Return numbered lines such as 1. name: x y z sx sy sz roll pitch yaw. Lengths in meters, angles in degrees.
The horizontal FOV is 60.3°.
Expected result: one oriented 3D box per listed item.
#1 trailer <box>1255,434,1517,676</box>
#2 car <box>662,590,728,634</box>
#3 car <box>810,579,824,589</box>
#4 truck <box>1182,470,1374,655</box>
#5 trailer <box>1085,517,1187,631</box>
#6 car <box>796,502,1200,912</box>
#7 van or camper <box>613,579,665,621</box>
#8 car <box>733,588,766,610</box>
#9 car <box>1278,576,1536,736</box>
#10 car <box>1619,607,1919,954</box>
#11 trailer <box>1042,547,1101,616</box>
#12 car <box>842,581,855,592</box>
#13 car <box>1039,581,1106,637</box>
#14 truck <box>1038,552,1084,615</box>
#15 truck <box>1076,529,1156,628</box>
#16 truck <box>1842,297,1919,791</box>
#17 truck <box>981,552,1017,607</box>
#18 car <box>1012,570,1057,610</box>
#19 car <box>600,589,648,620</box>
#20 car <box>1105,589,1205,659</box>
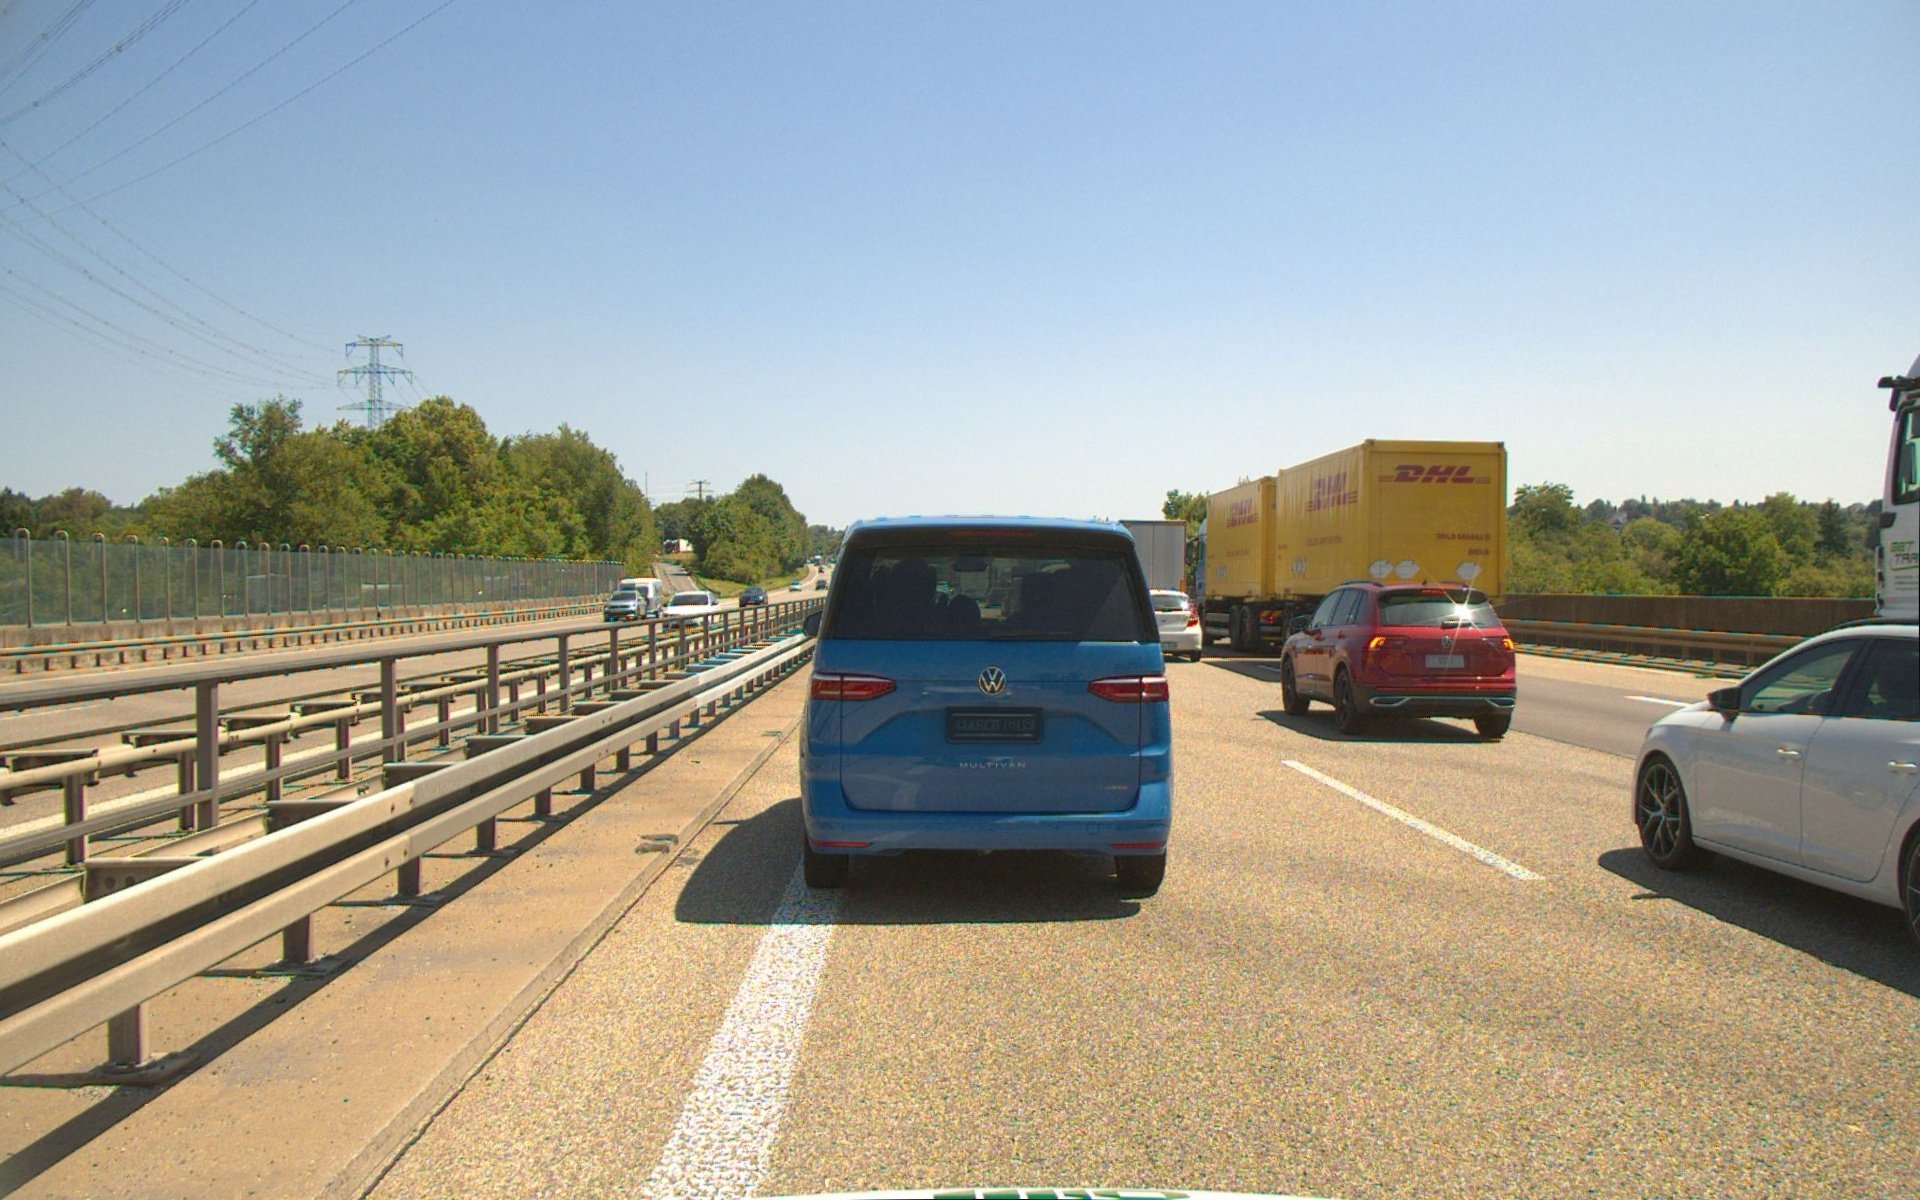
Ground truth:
1. trailer: 8.095 -0.758 32.799 2.647 4.094 8.927 1 0 -2
2. car: -9.489 0.406 59.484 1.722 1.474 4.285 -2 0 -2
3. car: -21.202 -2.399 245.787 1.764 1.410 4.262 1 0 -1
4. truck: 7.856 -0.834 42.437 2.667 4.125 10.333 1 0 -1
5. trailer: 7.032 -0.947 67.607 2.699 4.219 11.309 1 0 -1
6. car: 0.136 0.475 9.564 1.844 1.869 3.999 0 0 -1
7. van or camper: -18.368 0.006 94.830 1.953 2.250 5.535 -3 0 -2
8. car: -15.191 -0.092 119.404 1.818 1.421 4.675 1 2 -1
9. car: 4.974 0.558 18.983 1.813 1.636 3.999 0 1 -1
10. car: 4.848 0.768 7.736 1.745 1.411 4.186 0 0 -2
11. trailer: 6.498 -1.005 97.626 2.331 3.809 11.184 1 0 -2
12. car: -17.416 -2.087 258.888 1.803 1.556 3.557 -2 0 -1
13. car: 3.361 0.298 49.890 1.680 1.614 3.820 0 -1 -1
14. truck: 6.272 -0.967 103.267 2.320 3.787 6.031 1 0 -2
15. truck: 6.881 -0.924 73.912 2.712 4.167 6.982 1 0 -1
16. truck: 8.671 -0.355 7.927 2.793 3.665 10.765 1 1 -2
17. truck: 3.766 -1.919 162.621 2.777 5.128 11.140 1 0 -3
18. car: 3.133 -0.400 70.062 1.680 1.567 3.819 0 -2 -1
19. car: -18.222 0.246 89.932 1.819 1.572 4.199 -3 0 -2
20. car: 4.207 0.481 36.164 1.800 1.438 4.001 0 0 1
